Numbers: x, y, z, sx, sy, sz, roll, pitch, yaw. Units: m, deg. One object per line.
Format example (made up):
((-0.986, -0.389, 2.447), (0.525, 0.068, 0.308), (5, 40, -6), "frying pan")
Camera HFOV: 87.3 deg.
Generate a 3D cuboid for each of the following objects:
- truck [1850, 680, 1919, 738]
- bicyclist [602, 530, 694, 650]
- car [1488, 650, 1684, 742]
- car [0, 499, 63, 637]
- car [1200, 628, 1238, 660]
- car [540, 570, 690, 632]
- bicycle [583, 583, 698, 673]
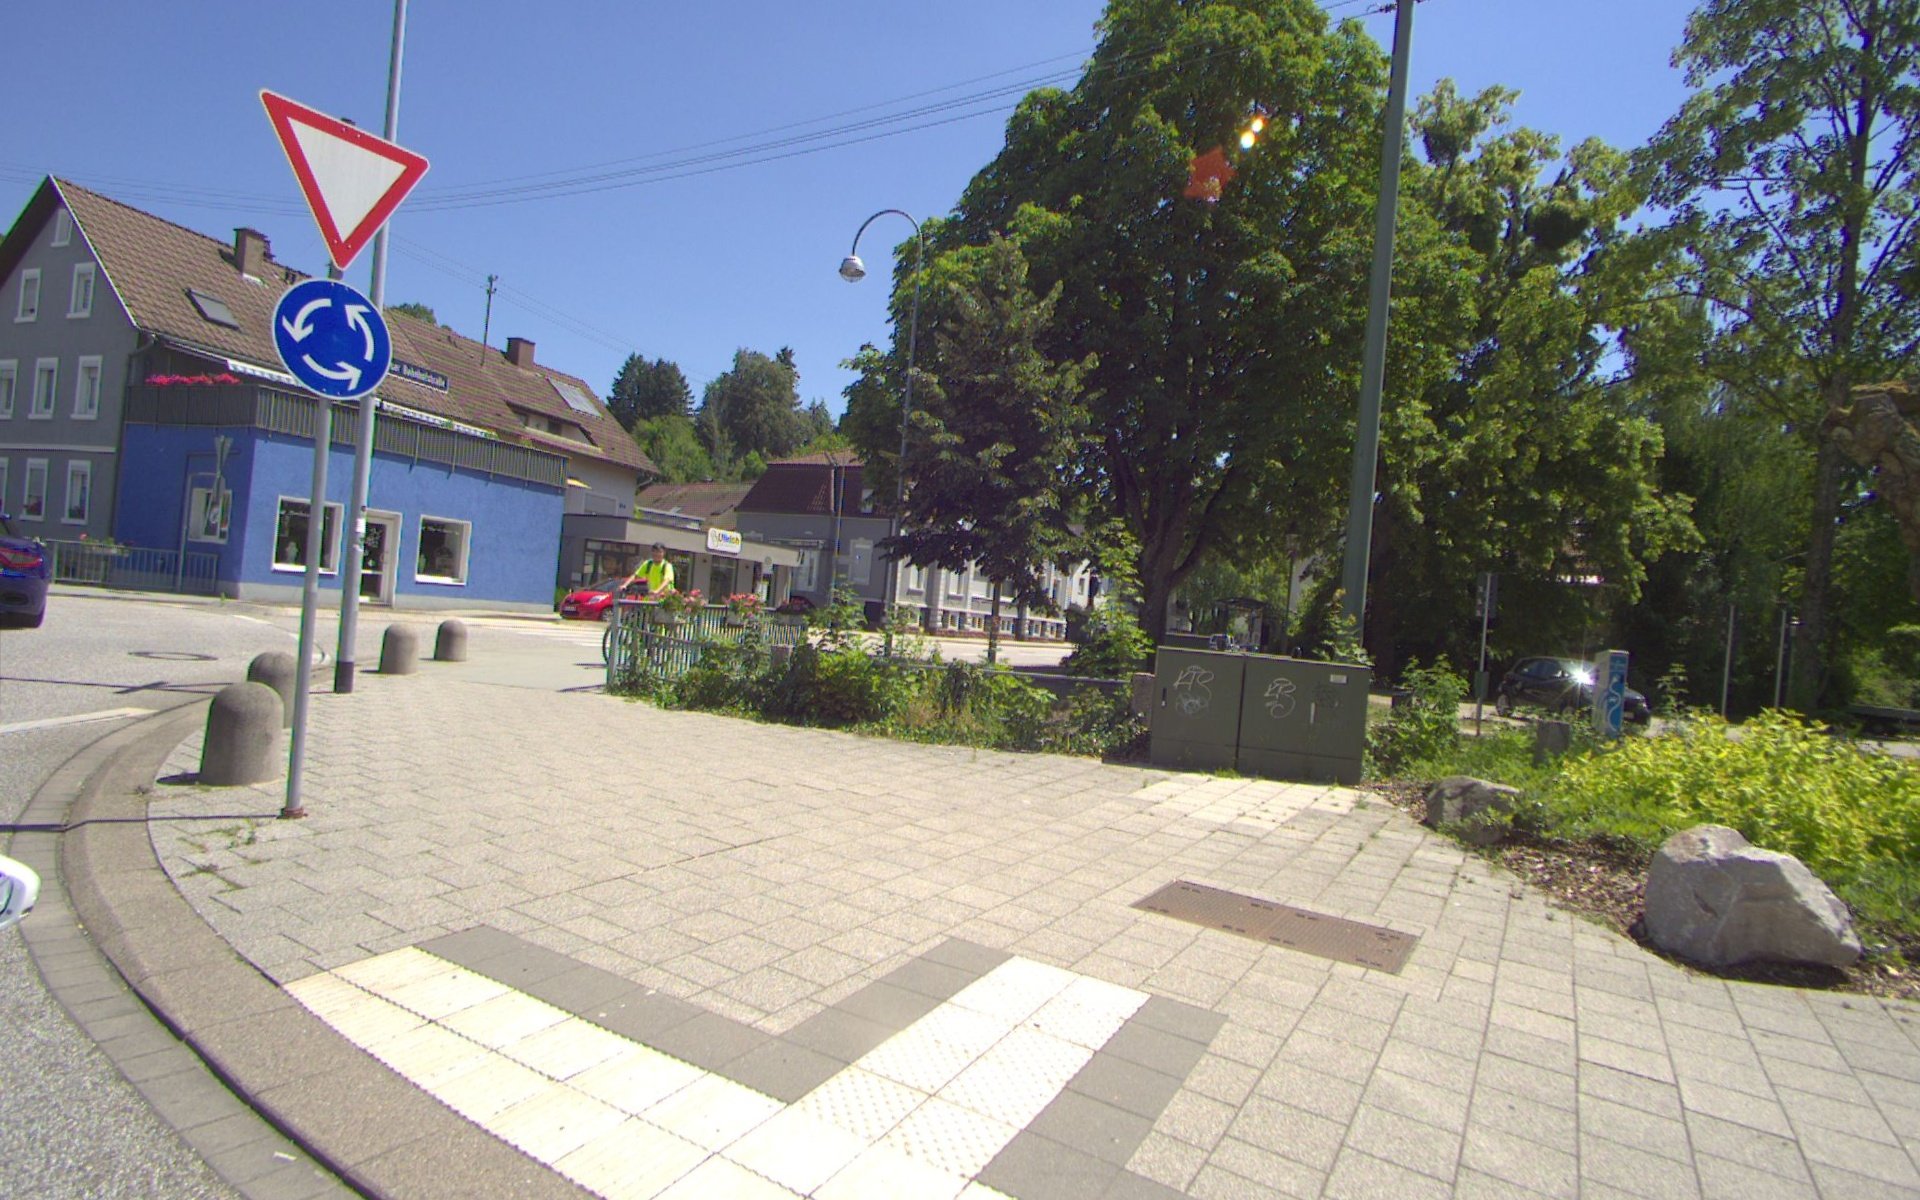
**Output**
((47.160, 5.455, 48.250), (2.240, 2.471, 6.174), (8, -2, -29), "truck")
((-4.595, -0.134, 14.896), (0.795, 1.656, 1.063), (5, 0, 9), "bicyclist")
((14.223, 2.128, 23.162), (1.808, 1.621, 3.999), (5, 0, -2), "car")
((-12.273, -0.573, 12.140), (1.969, 1.415, 4.573), (8, -1, -41), "car")
((19.724, 3.347, 76.526), (1.964, 2.037, 4.000), (7, -2, 25), "car")
((-10.305, 0.059, 30.355), (1.805, 1.551, 3.991), (2, -2, 32), "car")
((-4.659, 0.408, 14.831), (0.795, 1.170, 1.853), (5, 0, 9), "bicycle")
